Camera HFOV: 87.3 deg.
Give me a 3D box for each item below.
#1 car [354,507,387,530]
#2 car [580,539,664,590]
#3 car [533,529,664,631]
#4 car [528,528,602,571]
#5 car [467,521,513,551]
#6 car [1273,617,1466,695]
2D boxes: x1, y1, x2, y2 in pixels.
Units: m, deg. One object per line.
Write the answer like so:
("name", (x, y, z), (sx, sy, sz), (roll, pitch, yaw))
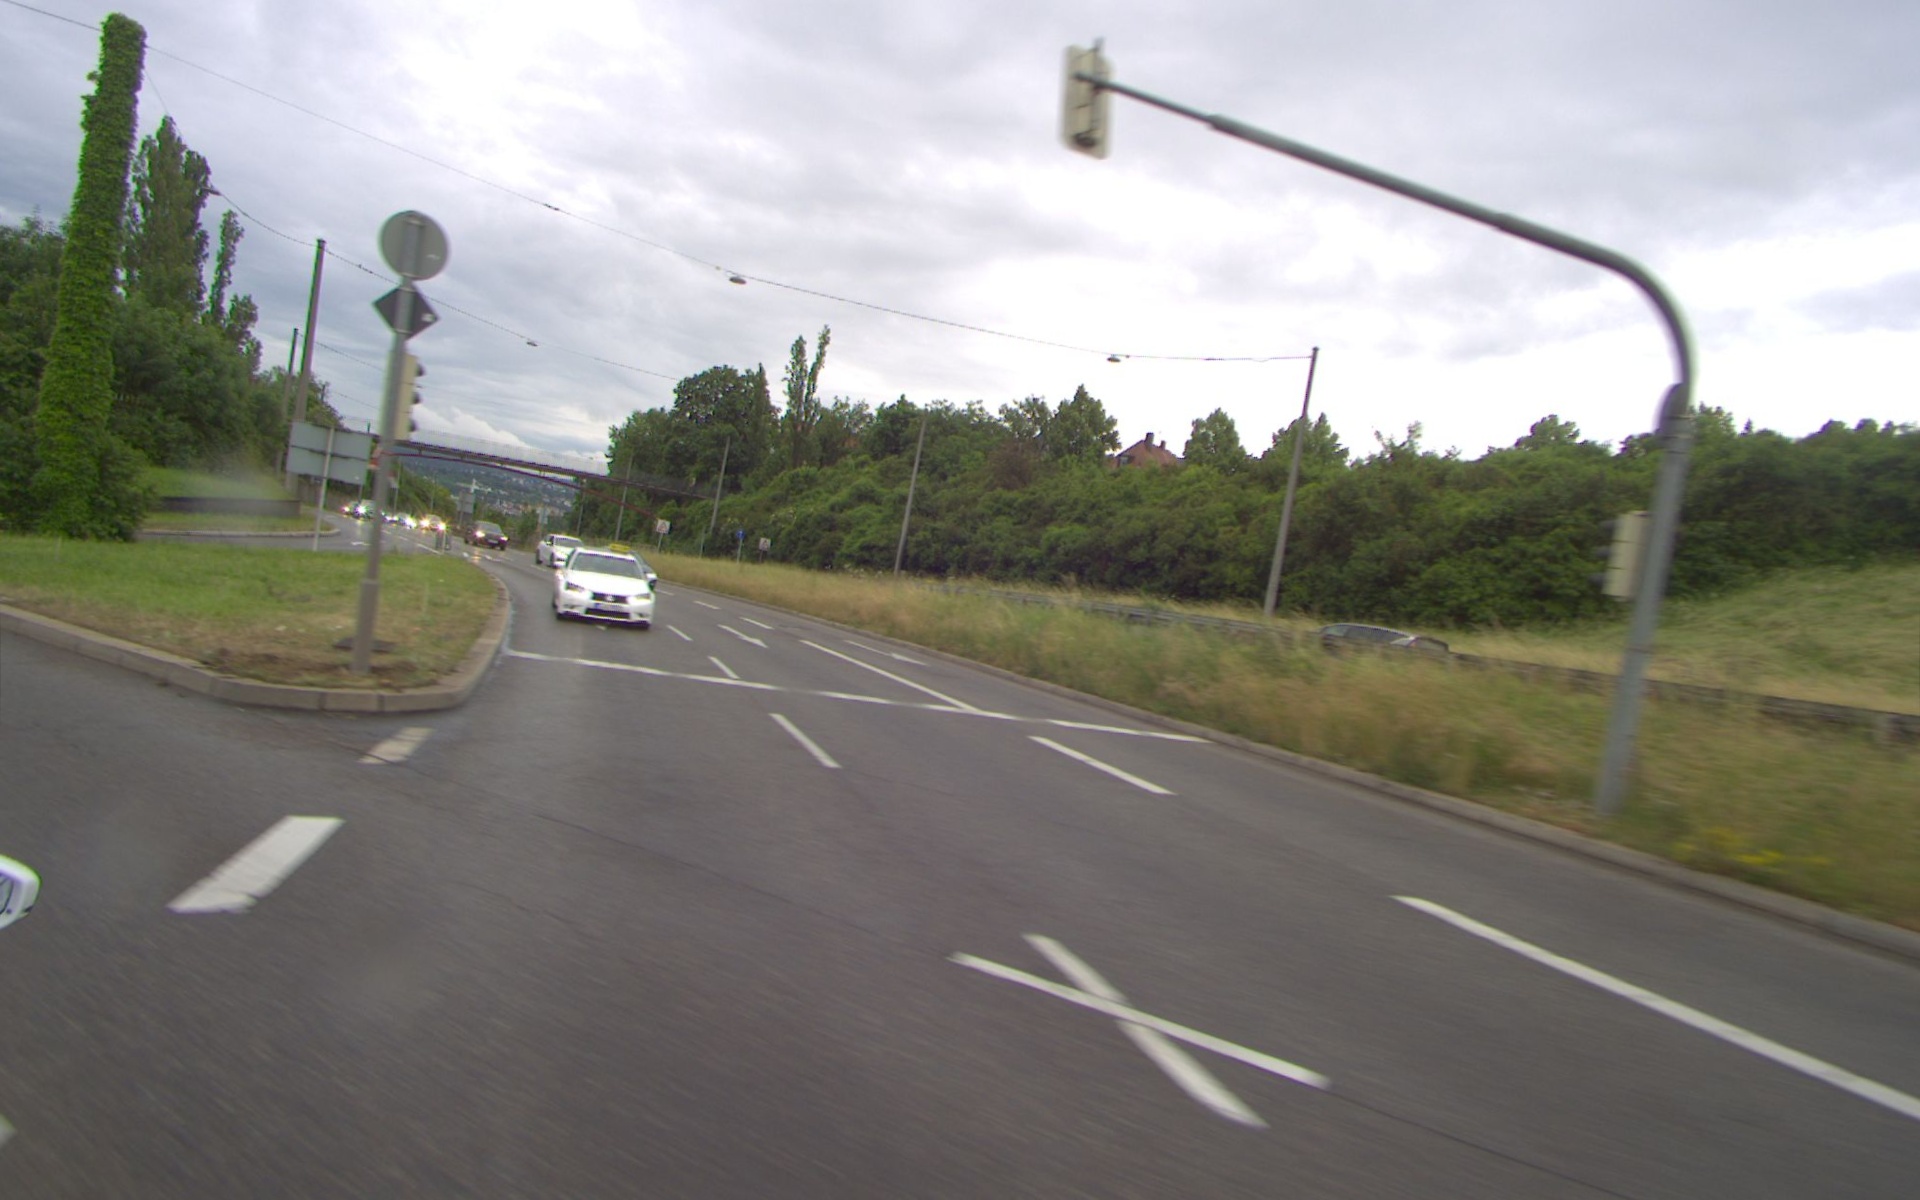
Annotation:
("car", (-43.126, -5.943, 73.575), (1.660, 1.431, 3.880), (7, 0, -35))
("car", (-12.796, -1.383, 37.914), (1.825, 1.368, 4.511), (7, 2, -33))
("car", (-7.874, -0.469, 21.584), (2.050, 1.665, 4.960), (9, -1, -25))
("car", (-17.767, -2.284, 45.179), (2.056, 1.446, 4.229), (7, 2, -35))
("car", (-27.110, -3.680, 58.008), (1.660, 1.431, 3.880), (7, 0, -35))
("car", (10.134, 1.350, 25.217), (1.764, 1.365, 4.196), (9, -1, -29))
